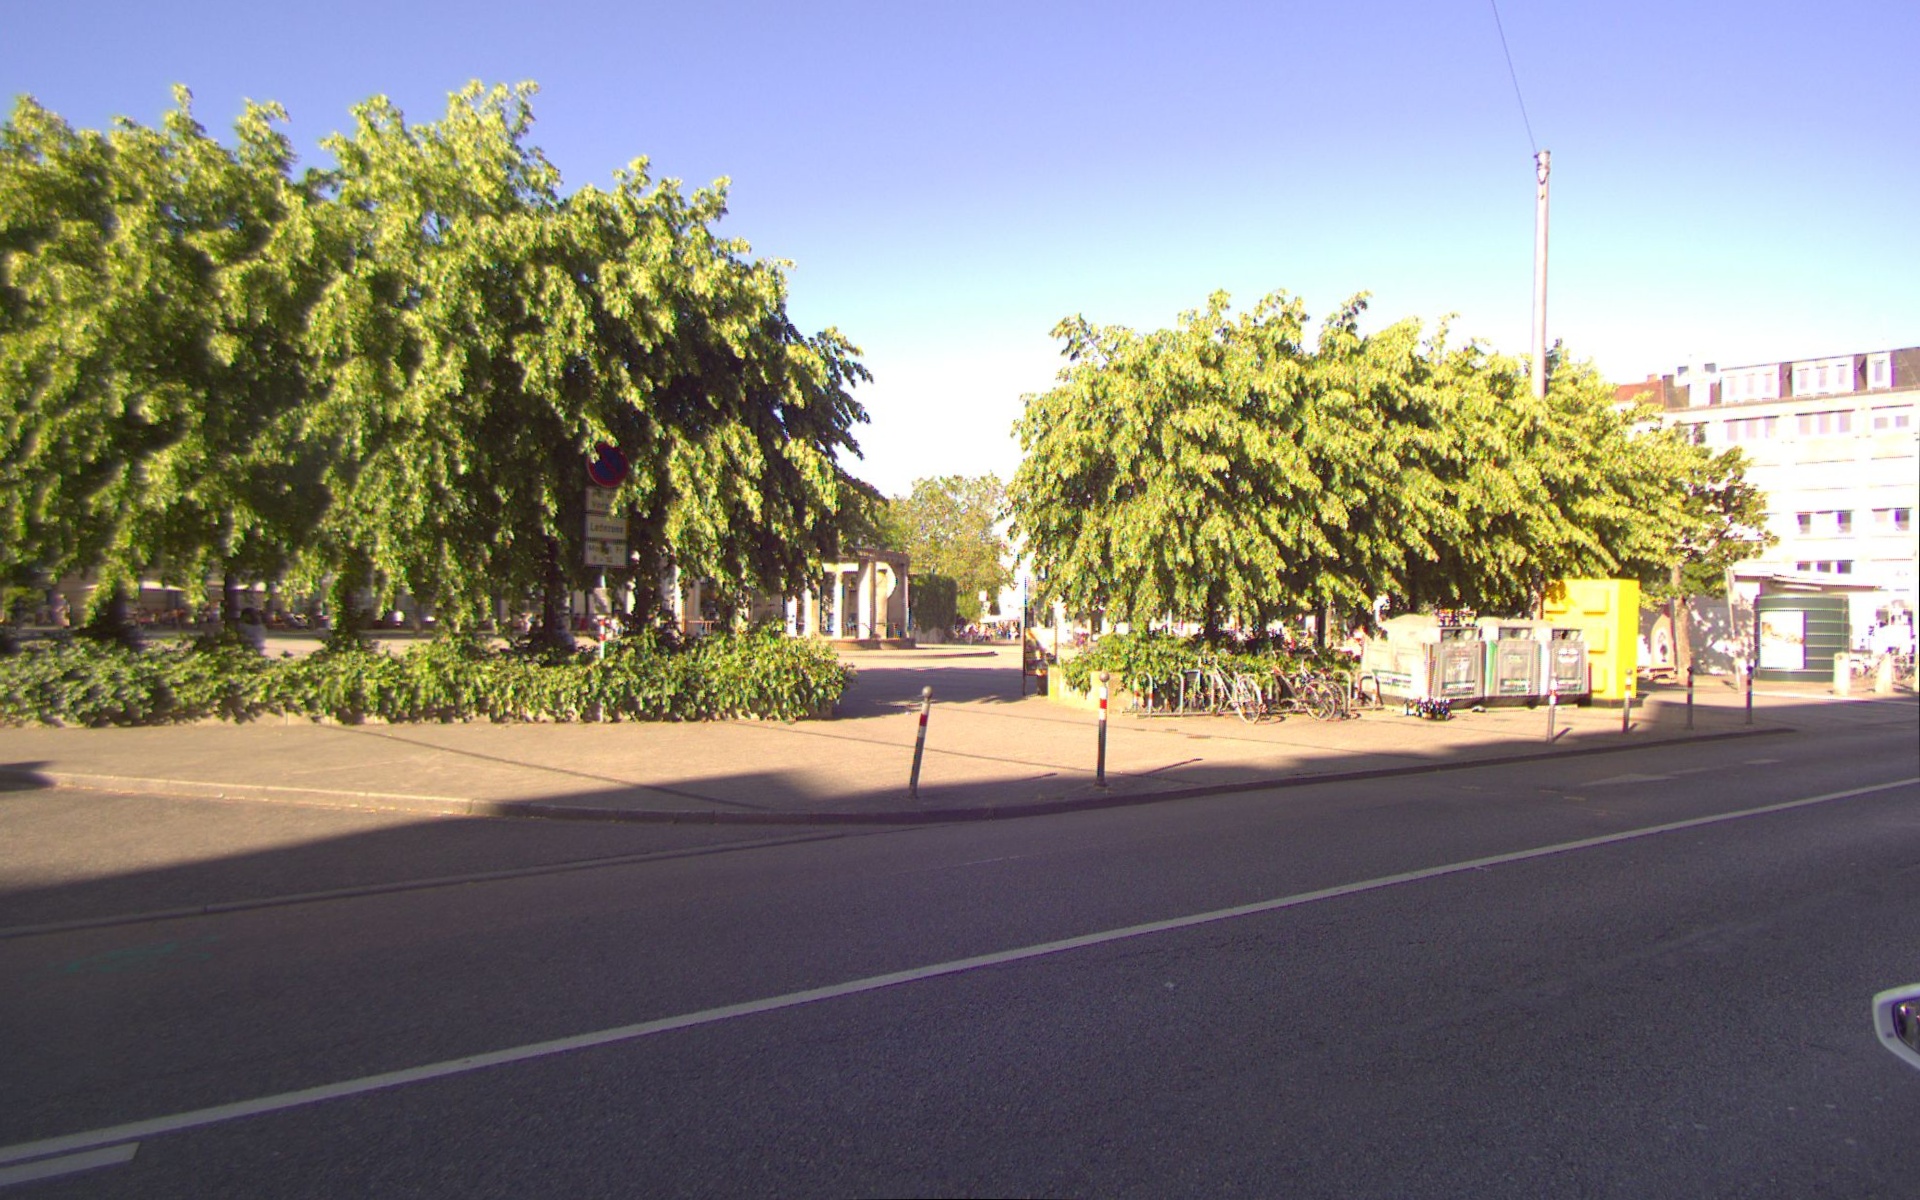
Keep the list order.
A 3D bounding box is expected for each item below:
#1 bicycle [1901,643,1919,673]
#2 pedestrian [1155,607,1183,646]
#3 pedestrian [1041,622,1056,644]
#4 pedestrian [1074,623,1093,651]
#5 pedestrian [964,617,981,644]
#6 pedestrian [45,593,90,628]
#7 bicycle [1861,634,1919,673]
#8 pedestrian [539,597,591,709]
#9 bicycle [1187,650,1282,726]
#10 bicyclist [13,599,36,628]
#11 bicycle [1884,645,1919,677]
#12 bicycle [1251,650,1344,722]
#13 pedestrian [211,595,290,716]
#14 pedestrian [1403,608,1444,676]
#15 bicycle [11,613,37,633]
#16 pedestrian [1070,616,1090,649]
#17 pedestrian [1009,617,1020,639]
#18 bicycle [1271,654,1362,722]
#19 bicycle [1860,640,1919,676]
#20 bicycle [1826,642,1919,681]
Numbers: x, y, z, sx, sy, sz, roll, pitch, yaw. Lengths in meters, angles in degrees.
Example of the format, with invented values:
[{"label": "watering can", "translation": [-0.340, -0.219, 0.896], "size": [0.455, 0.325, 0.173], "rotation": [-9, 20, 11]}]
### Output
[{"label": "bicycle", "translation": [38.685, 2.313, 39.506], "size": [0.834, 1.171, 2.308], "rotation": [1, -1, -34]}, {"label": "pedestrian", "translation": [11.247, 1.427, 54.102], "size": [0.890, 2.040, 1.398], "rotation": [1, -1, -17]}, {"label": "pedestrian", "translation": [8.449, 3.164, 95.926], "size": [1.252, 2.040, 1.285], "rotation": [1, -1, -4]}, {"label": "pedestrian", "translation": [9.010, 2.696, 73.059], "size": [0.890, 2.040, 1.280], "rotation": [1, -1, -18]}, {"label": "pedestrian", "translation": [0.962, 2.327, 77.304], "size": [0.806, 2.040, 1.044], "rotation": [1, -1, -38]}, {"label": "pedestrian", "translation": [-50.298, 0.582, 56.619], "size": [1.233, 1.937, 1.451], "rotation": [1, 0, 19]}, {"label": "bicycle", "translation": [34.488, 1.942, 36.520], "size": [0.913, 1.341, 2.461], "rotation": [1, -1, -35]}, {"label": "pedestrian", "translation": [-6.495, 0.857, 16.535], "size": [0.725, 1.781, 0.895], "rotation": [1, -1, -19]}, {"label": "bicycle", "translation": [4.223, 1.325, 15.546], "size": [0.425, 1.031, 1.590], "rotation": [1, 0, -28]}, {"label": "bicyclist", "translation": [-46.251, 0.676, 49.677], "size": [0.666, 1.447, 0.693], "rotation": [1, -1, -31]}, {"label": "bicycle", "translation": [36.761, 2.325, 38.027], "size": [0.834, 1.171, 2.517], "rotation": [1, -1, -34]}, {"label": "bicycle", "translation": [5.392, 1.358, 16.129], "size": [0.425, 1.036, 1.561], "rotation": [1, -1, -28]}, {"label": "pedestrian", "translation": [-10.746, 0.823, 15.238], "size": [0.725, 1.781, 0.895], "rotation": [1, -1, -19]}, {"label": "pedestrian", "translation": [14.137, 1.261, 30.653], "size": [0.886, 2.040, 0.993], "rotation": [1, 0, 8]}, {"label": "bicycle", "translation": [-46.253, 1.143, 49.649], "size": [0.583, 0.966, 1.890], "rotation": [1, -1, -32]}, {"label": "pedestrian", "translation": [7.445, 1.997, 62.511], "size": [0.890, 2.040, 0.989], "rotation": [1, -1, -17]}, {"label": "pedestrian", "translation": [5.287, 2.700, 97.644], "size": [0.887, 2.040, 1.284], "rotation": [1, -1, -4]}, {"label": "bicycle", "translation": [5.809, 1.412, 16.439], "size": [0.425, 0.971, 1.518], "rotation": [0, 0, -28]}, {"label": "bicycle", "translation": [33.127, 2.035, 35.031], "size": [0.833, 1.171, 2.449], "rotation": [1, -1, -31]}, {"label": "bicycle", "translation": [30.912, 2.055, 33.866], "size": [0.833, 1.171, 2.493], "rotation": [1, -1, -31]}]
